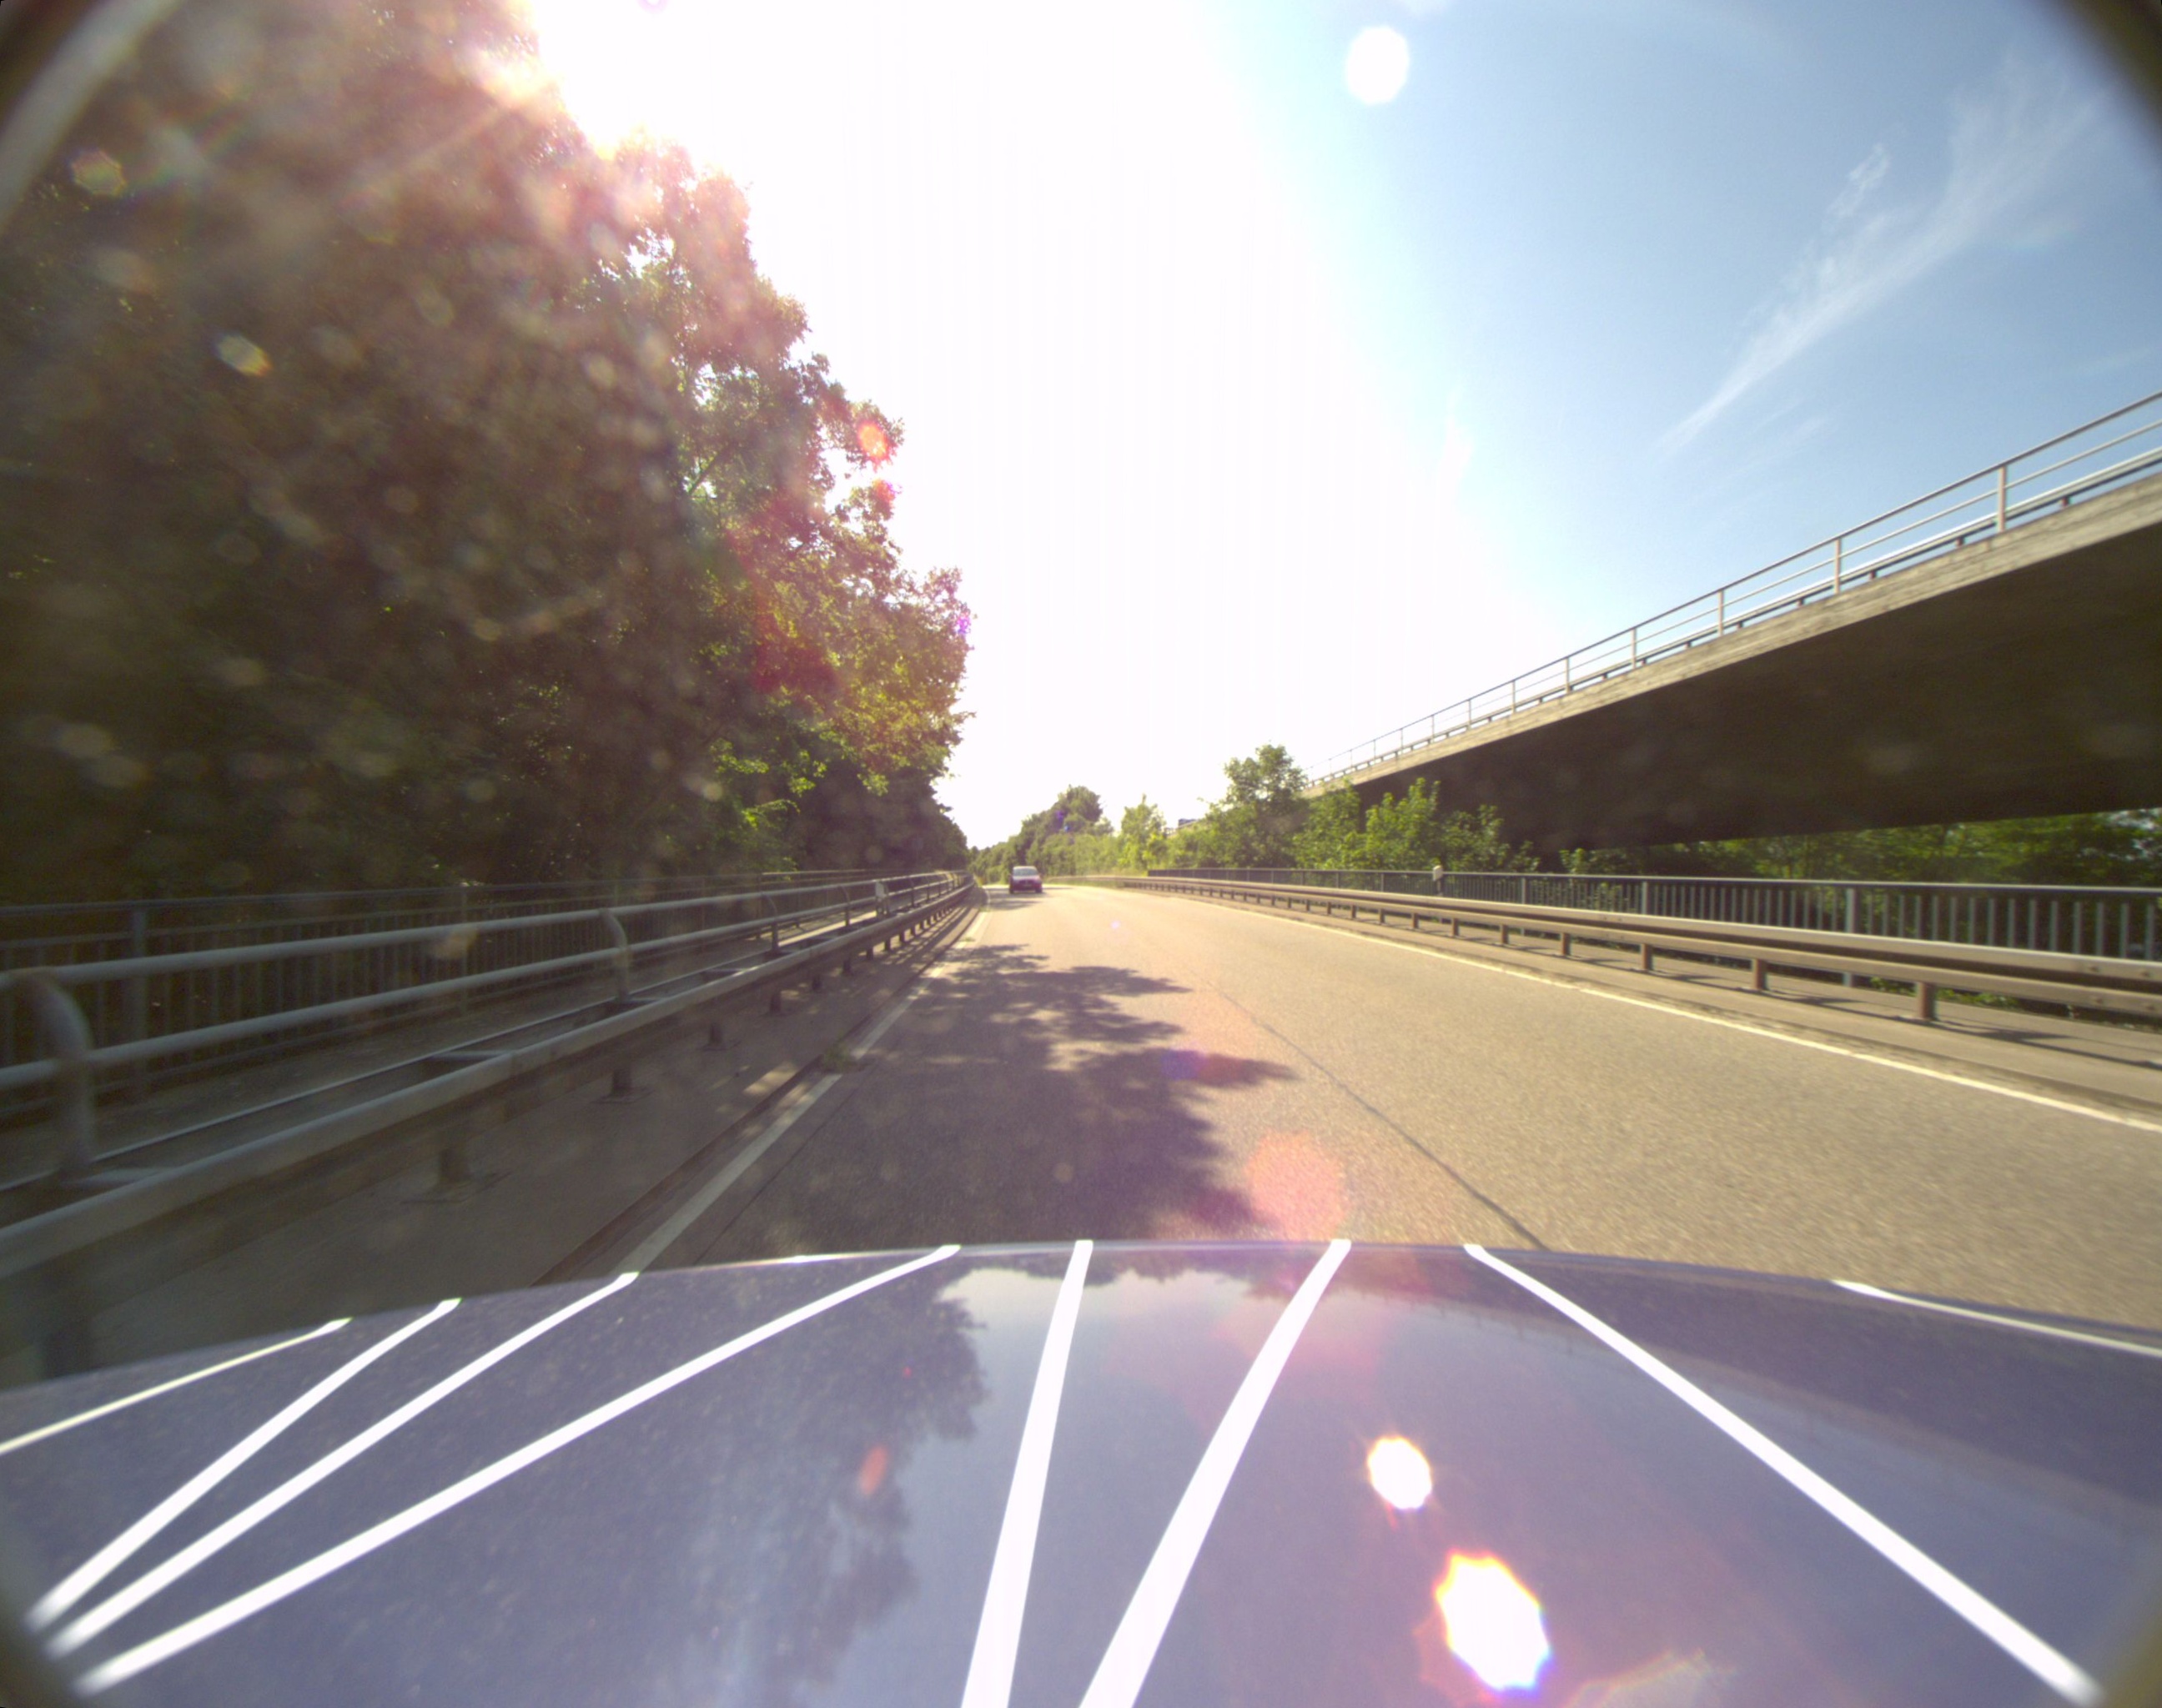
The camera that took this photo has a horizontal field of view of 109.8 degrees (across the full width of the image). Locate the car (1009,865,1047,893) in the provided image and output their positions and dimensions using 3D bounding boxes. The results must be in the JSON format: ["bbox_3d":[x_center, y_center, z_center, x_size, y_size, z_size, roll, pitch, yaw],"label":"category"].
[{"bbox_3d":[-3.042,1.367,43.081,1.818,1.488,4.283,-1,0,-8],"label":"car"}]
